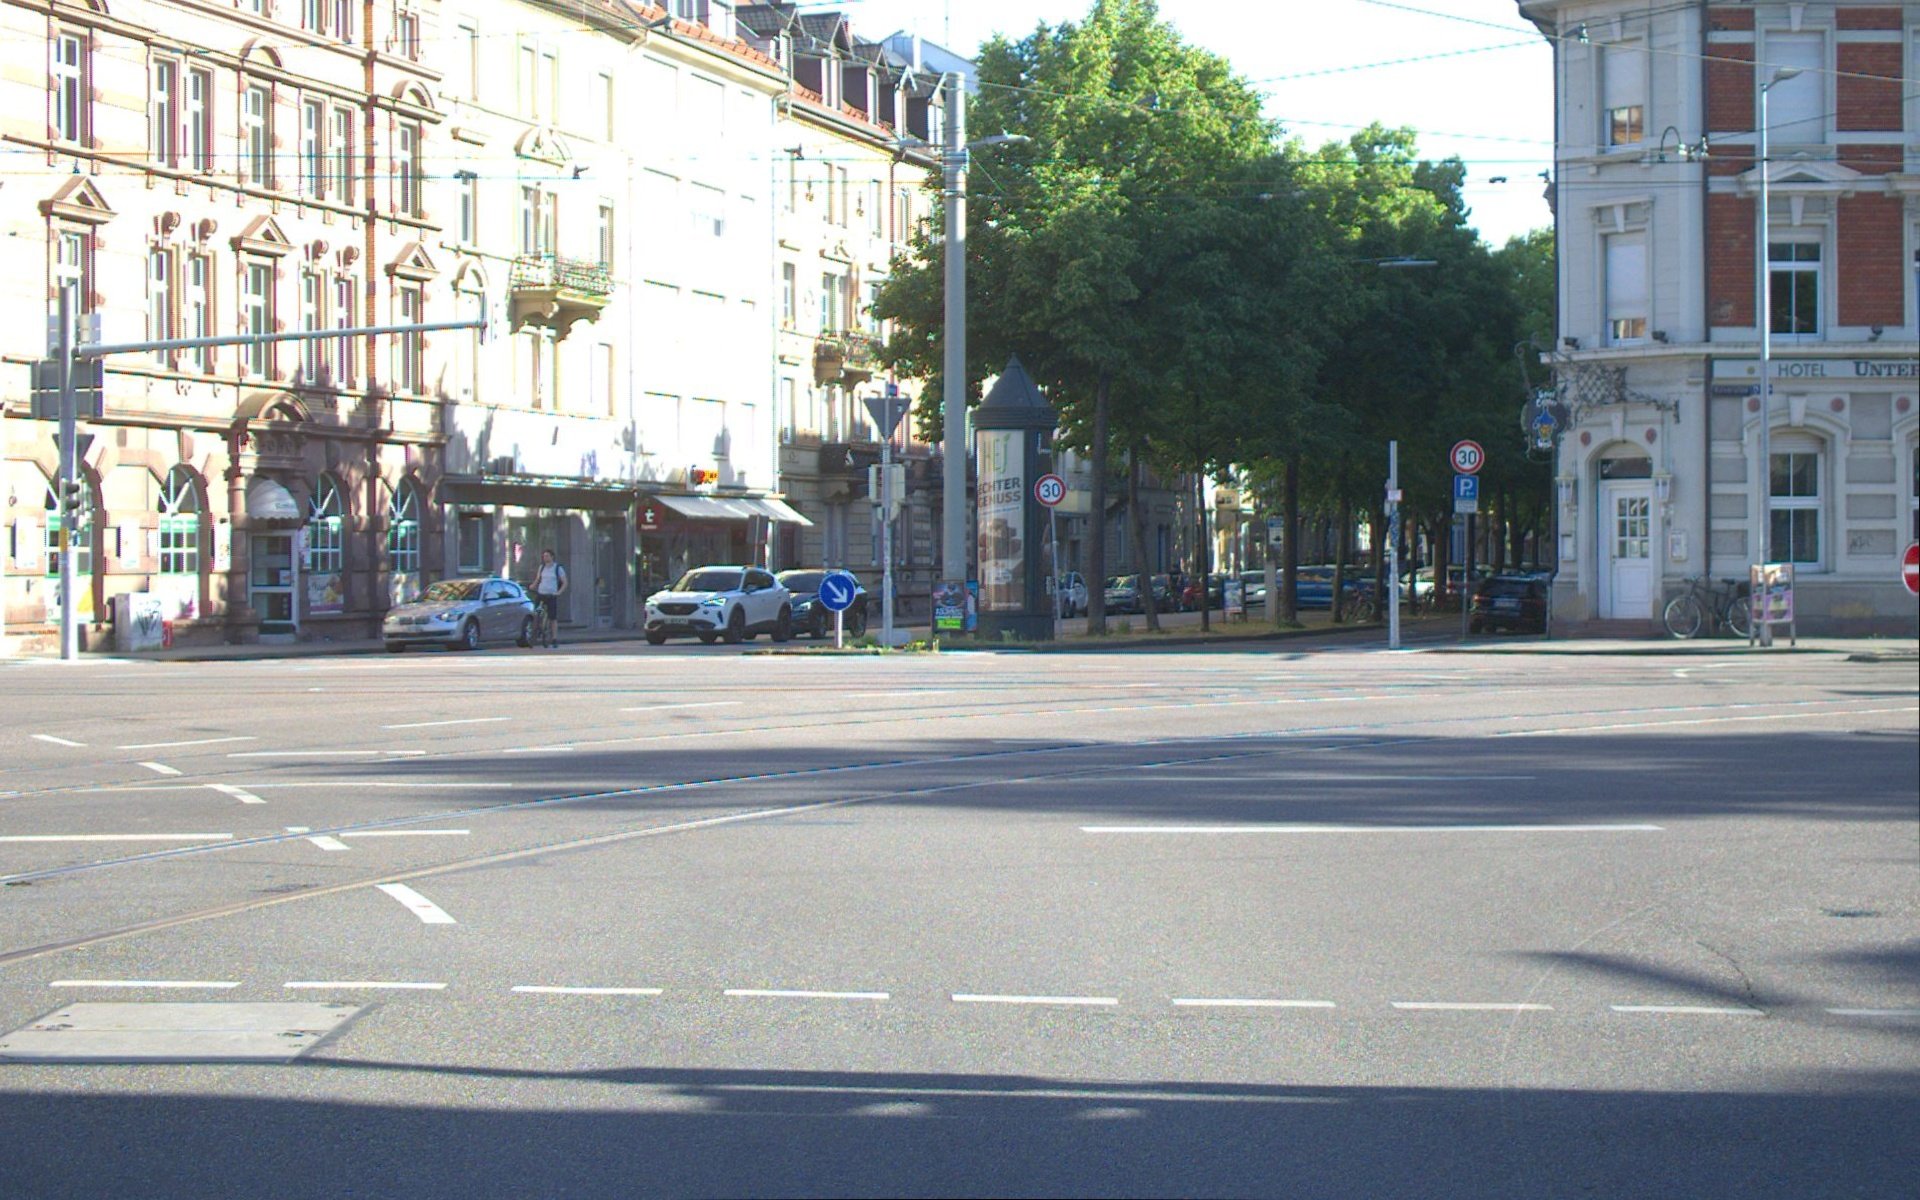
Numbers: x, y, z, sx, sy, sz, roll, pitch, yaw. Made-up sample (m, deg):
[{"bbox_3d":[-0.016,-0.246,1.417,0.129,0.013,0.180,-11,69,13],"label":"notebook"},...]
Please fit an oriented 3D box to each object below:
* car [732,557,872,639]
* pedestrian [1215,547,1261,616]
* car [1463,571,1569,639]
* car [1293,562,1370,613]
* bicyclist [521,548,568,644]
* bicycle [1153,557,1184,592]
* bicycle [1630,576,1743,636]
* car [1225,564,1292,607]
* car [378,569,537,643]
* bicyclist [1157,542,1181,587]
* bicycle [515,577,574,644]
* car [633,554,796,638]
[{"bbox_3d":[-3.354,-0.062,73.606,1.826,1.679,3.872,1,1,16],"label":"car"},{"bbox_3d":[8.168,-0.541,100.978,0.961,2.007,0.918,1,0,-32],"label":"pedestrian"},{"bbox_3d":[13.357,0.102,82.483,1.758,1.550,3.996,1,1,20],"label":"car"},{"bbox_3d":[12.614,-0.424,116.529,1.995,1.678,3.997,1,1,15],"label":"car"},{"bbox_3d":[-7.856,-0.087,65.040,0.565,1.797,0.913,1,0,15],"label":"bicyclist"},{"bbox_3d":[7.400,-0.901,121.988,0.674,1.203,1.820,1,1,18],"label":"bicycle"},{"bbox_3d":[12.075,0.101,57.110,1.804,0.959,0.603,1,0,14],"label":"bicycle"},{"bbox_3d":[11.218,-0.553,129.031,1.804,1.570,3.888,1,1,15],"label":"car"},{"bbox_3d":[-9.772,0.101,67.069,1.661,1.369,3.889,1,1,15],"label":"car"},{"bbox_3d":[7.404,-1.257,121.986,0.674,1.563,0.747,1,0,18],"label":"bicyclist"},{"bbox_3d":[-7.852,0.191,65.035,0.565,1.250,1.556,1,0,14],"label":"bicycle"},{"bbox_3d":[-4.761,-0.091,67.249,1.804,1.579,4.156,1,1,17],"label":"car"}]
